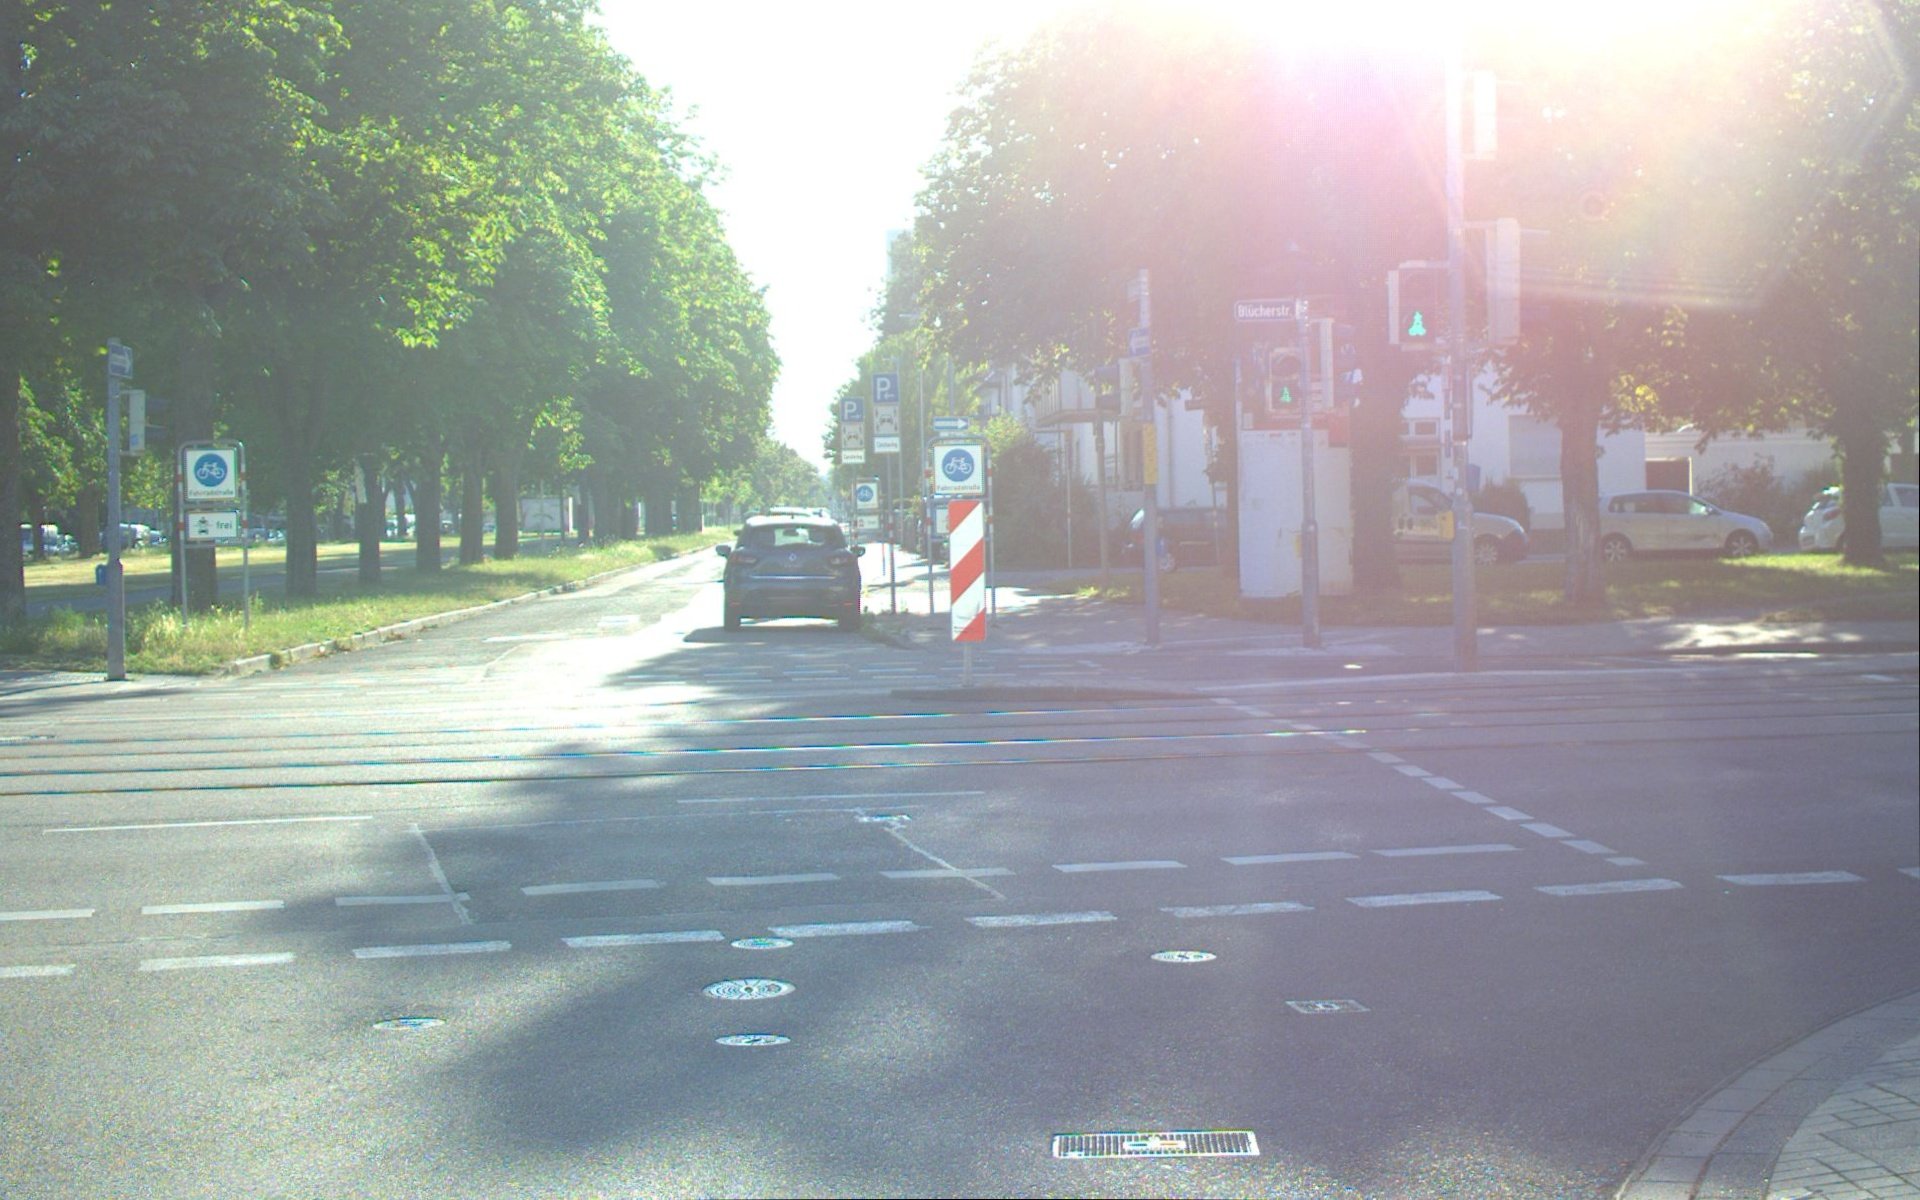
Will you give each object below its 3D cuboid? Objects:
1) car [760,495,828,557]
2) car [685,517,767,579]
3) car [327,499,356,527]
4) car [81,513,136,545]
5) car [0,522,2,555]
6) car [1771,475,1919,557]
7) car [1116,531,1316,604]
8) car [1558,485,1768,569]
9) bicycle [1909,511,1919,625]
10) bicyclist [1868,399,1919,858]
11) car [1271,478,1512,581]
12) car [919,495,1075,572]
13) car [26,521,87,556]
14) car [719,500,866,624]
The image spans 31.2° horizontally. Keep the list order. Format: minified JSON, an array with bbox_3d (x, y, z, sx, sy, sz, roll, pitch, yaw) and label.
[{"bbox_3d":[-5.017,-2.250,103.716,1.993,1.775,4.001,1,2,-3],"label":"car"},{"bbox_3d":[-5.305,-1.166,78.347,1.709,1.355,4.203,1,1,-2],"label":"car"},{"bbox_3d":[-45.660,-6.435,253.835,1.654,1.932,3.568,1,-1,-3],"label":"car"},{"bbox_3d":[-46.300,-3.875,187.021,1.993,1.653,4.571,-1,2,-3],"label":"car"},{"bbox_3d":[-49.734,-3.127,172.782,1.993,1.653,4.355,1,1,-1],"label":"car"},{"bbox_3d":[17.736,-1.603,65.975,3.920,1.518,1.524,0,0,-7],"label":"car"},{"bbox_3d":[5.346,-0.679,72.165,3.986,1.442,1.716,-1,1,-2],"label":"car"},{"bbox_3d":[13.331,-1.387,65.284,3.552,1.510,1.606,-1,1,-8],"label":"car"},{"bbox_3d":[9.892,-0.324,32.854,1.522,1.085,0.467,-1,1,7],"label":"bicycle"},{"bbox_3d":[4.013,0.109,13.117,0.814,1.726,0.894,1,0,-2],"label":"bicyclist"},{"bbox_3d":[8.191,-1.337,65.538,4.241,1.868,2.031,-1,1,-2],"label":"car"},{"bbox_3d":[0.994,-1.790,93.454,3.986,1.816,1.760,-2,-4,-6],"label":"car"},{"bbox_3d":[-44.020,-2.976,167.538,2.022,1.653,3.984,1,1,-2],"label":"car"},{"bbox_3d":[-2.125,-0.486,44.577,1.725,1.506,4.541,1,1,-1],"label":"car"}]
